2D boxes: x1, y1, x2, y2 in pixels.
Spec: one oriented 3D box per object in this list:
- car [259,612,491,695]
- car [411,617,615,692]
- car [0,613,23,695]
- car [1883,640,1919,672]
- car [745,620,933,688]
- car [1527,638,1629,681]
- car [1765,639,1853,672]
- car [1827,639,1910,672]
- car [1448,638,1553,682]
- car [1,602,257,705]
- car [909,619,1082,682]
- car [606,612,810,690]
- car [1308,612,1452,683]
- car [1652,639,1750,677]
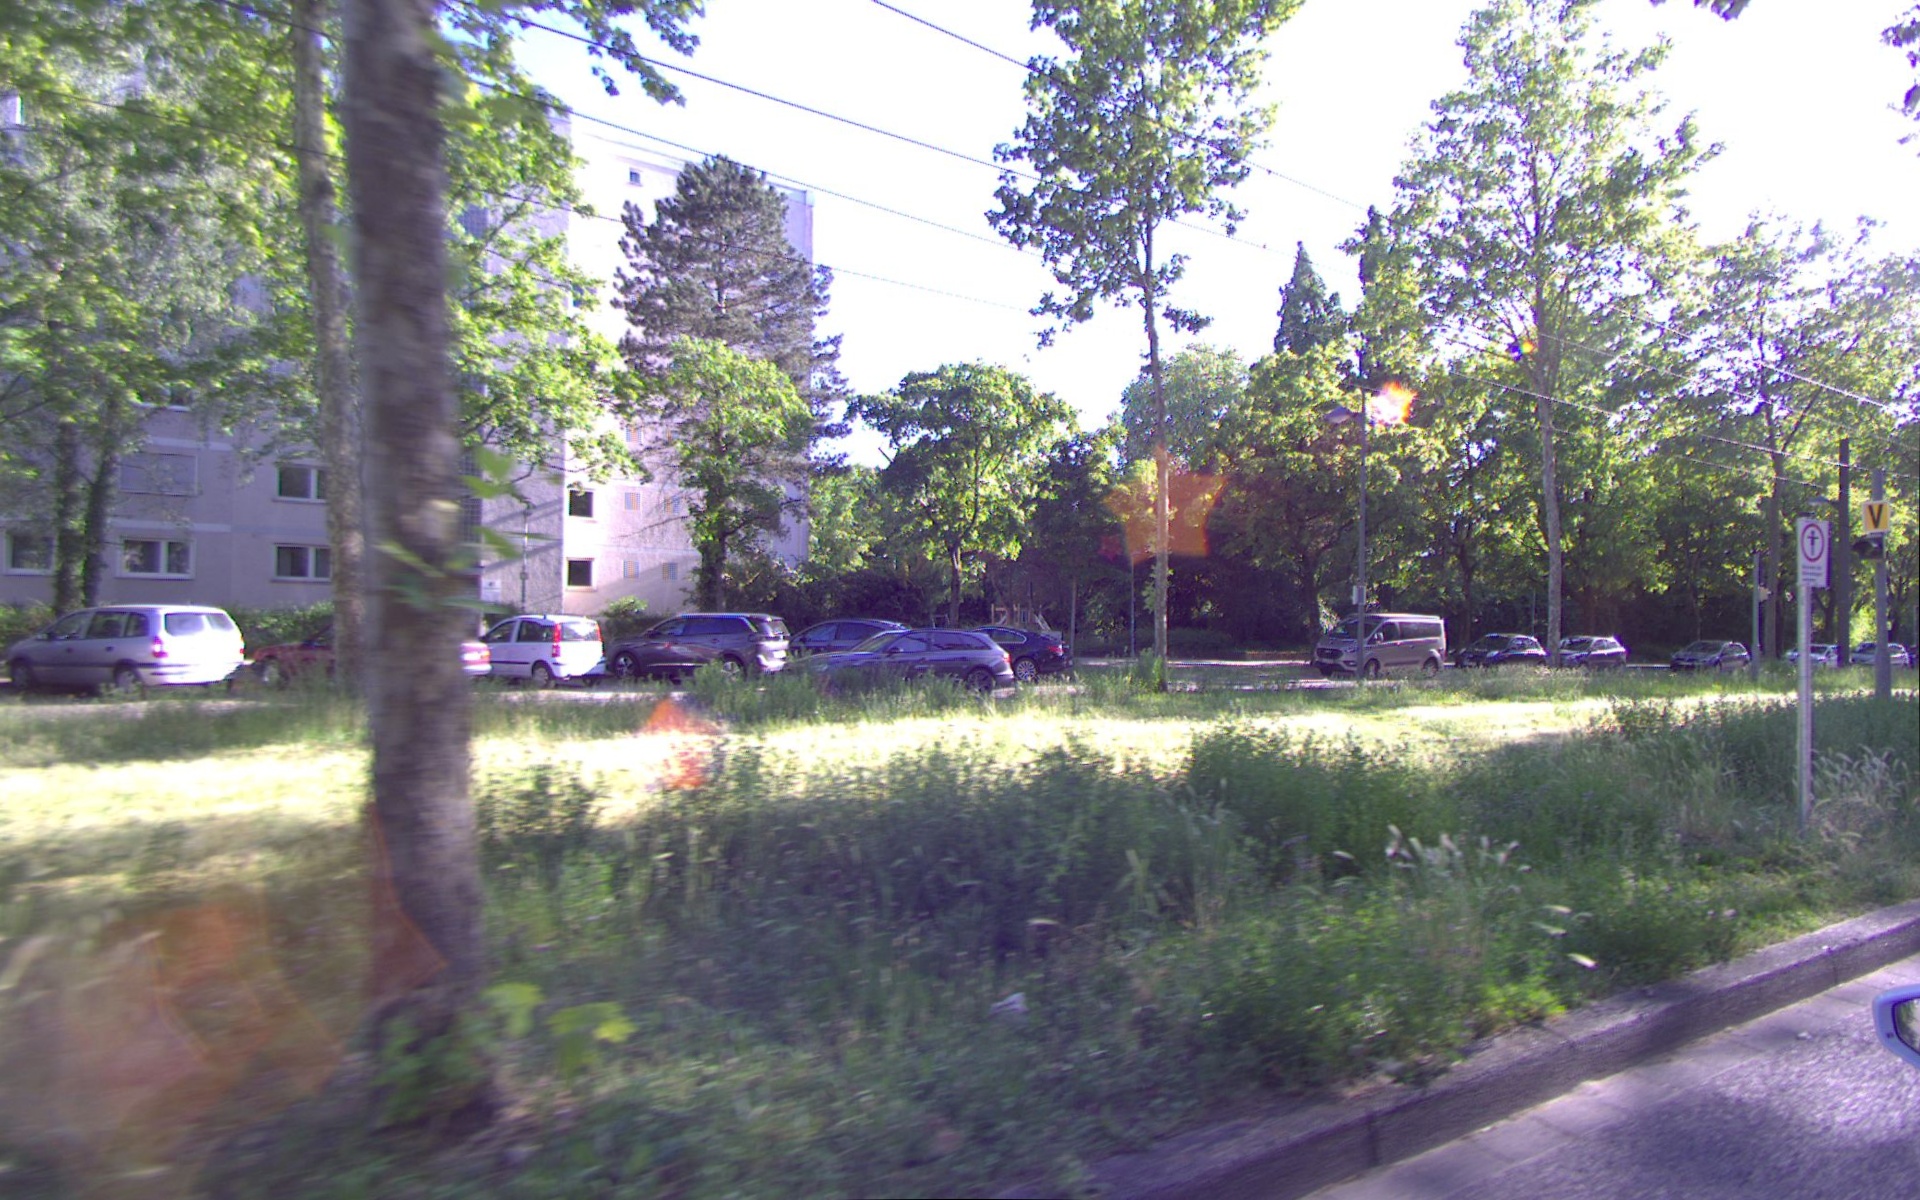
[{"bbox_3d":[-11.619,1.029,20.028,3.842,1.507,1.796,0,-2,15],"label":"car"},{"bbox_3d":[-9.953,1.167,22.342,4.401,1.501,1.617,0,-2,24],"label":"car"},{"bbox_3d":[-17.909,0.861,16.535,4.049,1.355,1.796,0,-1,16],"label":"car"},{"bbox_3d":[53.529,3.124,55.968,4.116,1.611,1.779,2,1,-28],"label":"car"},{"bbox_3d":[-3.074,1.339,25.656,4.397,1.589,1.796,0,-2,18],"label":"car"},{"bbox_3d":[24.298,2.322,39.479,3.530,1.472,1.864,2,1,-28],"label":"car"},{"bbox_3d":[42.439,2.775,50.203,3.950,1.472,1.985,2,1,-28],"label":"car"},{"bbox_3d":[48.330,2.942,53.425,4.116,1.611,1.985,2,1,-28],"label":"car"},{"bbox_3d":[19.892,2.190,36.928,3.618,1.472,1.638,2,1,-28],"label":"car"},{"bbox_3d":[-15.141,0.908,18.341,3.900,1.698,1.787,0,1,18],"label":"car"},{"bbox_3d":[0.985,1.353,27.552,4.397,1.589,1.796,0,-2,18],"label":"car"},{"bbox_3d":[-5.947,1.170,23.792,4.397,1.697,1.796,0,-2,18],"label":"car"},{"bbox_3d":[13.914,1.561,33.205,4.854,2.121,1.638,2,1,-28],"label":"car"},{"bbox_3d":[32.944,2.554,44.640,3.950,1.472,1.985,2,1,-28],"label":"car"}]
